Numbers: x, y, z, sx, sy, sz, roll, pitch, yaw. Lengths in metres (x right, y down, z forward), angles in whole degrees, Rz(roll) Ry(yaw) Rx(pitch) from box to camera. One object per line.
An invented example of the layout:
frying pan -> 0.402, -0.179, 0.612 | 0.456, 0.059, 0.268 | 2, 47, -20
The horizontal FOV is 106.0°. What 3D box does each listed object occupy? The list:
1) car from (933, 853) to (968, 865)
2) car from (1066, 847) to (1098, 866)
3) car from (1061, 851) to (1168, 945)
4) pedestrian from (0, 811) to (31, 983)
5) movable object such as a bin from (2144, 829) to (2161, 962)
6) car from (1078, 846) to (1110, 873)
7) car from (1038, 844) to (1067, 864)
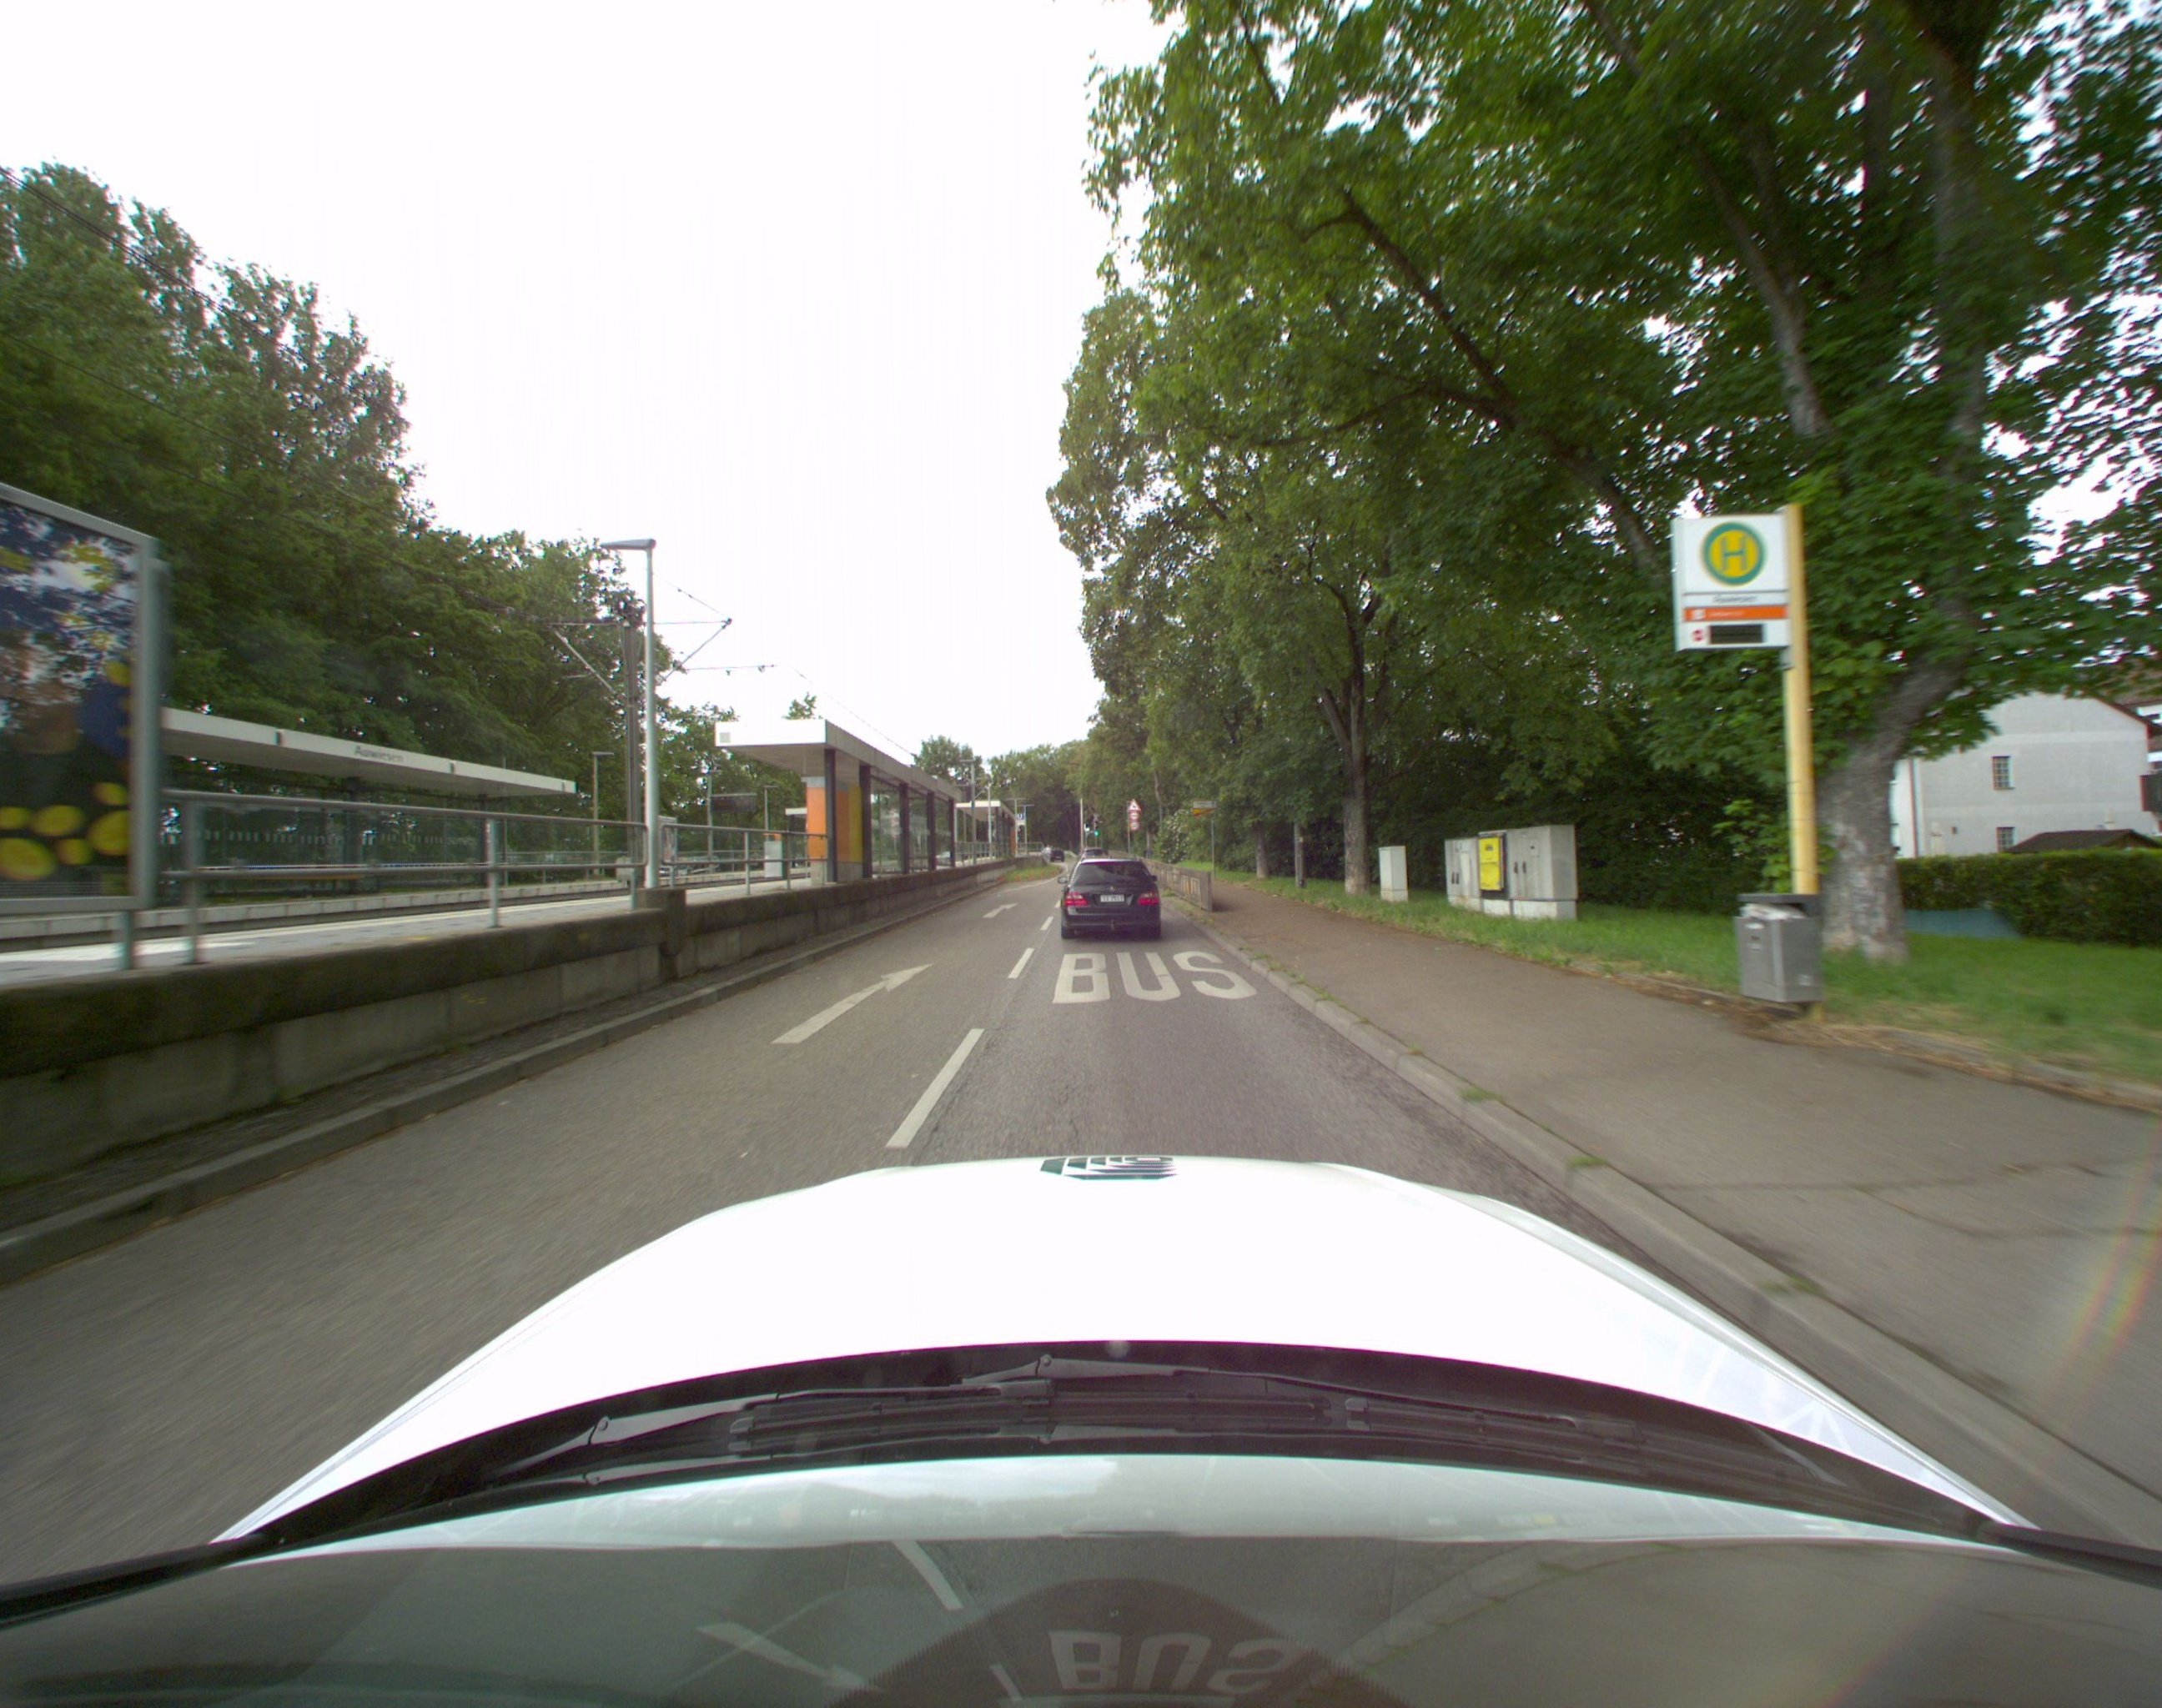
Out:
car -> -15.498, 0.618, 96.533 | 3.950, 1.399, 2.012 | -1, 1, 43
car -> 0.044, 0.177, 65.809 | 1.993, 1.399, 3.989 | -1, 1, -8
car -> 0.525, 0.726, 15.579 | 1.777, 1.525, 3.998 | -1, 0, -1
pedestrian -> -14.250, 0.559, 10.180 | 0.966, 2.186, 0.976 | -1, -1, 2
movable object such as a bin -> 22.691, 0.785, 13.343 | 1.992, 2.623, 6.255 | 1, -1, -7
car -> 0.838, 0.406, 54.637 | 1.778, 1.648, 3.996 | -3, 0, -3
car -> -2.826, 0.045, 79.458 | 1.997, 1.918, 3.979 | 1, -1, -15
